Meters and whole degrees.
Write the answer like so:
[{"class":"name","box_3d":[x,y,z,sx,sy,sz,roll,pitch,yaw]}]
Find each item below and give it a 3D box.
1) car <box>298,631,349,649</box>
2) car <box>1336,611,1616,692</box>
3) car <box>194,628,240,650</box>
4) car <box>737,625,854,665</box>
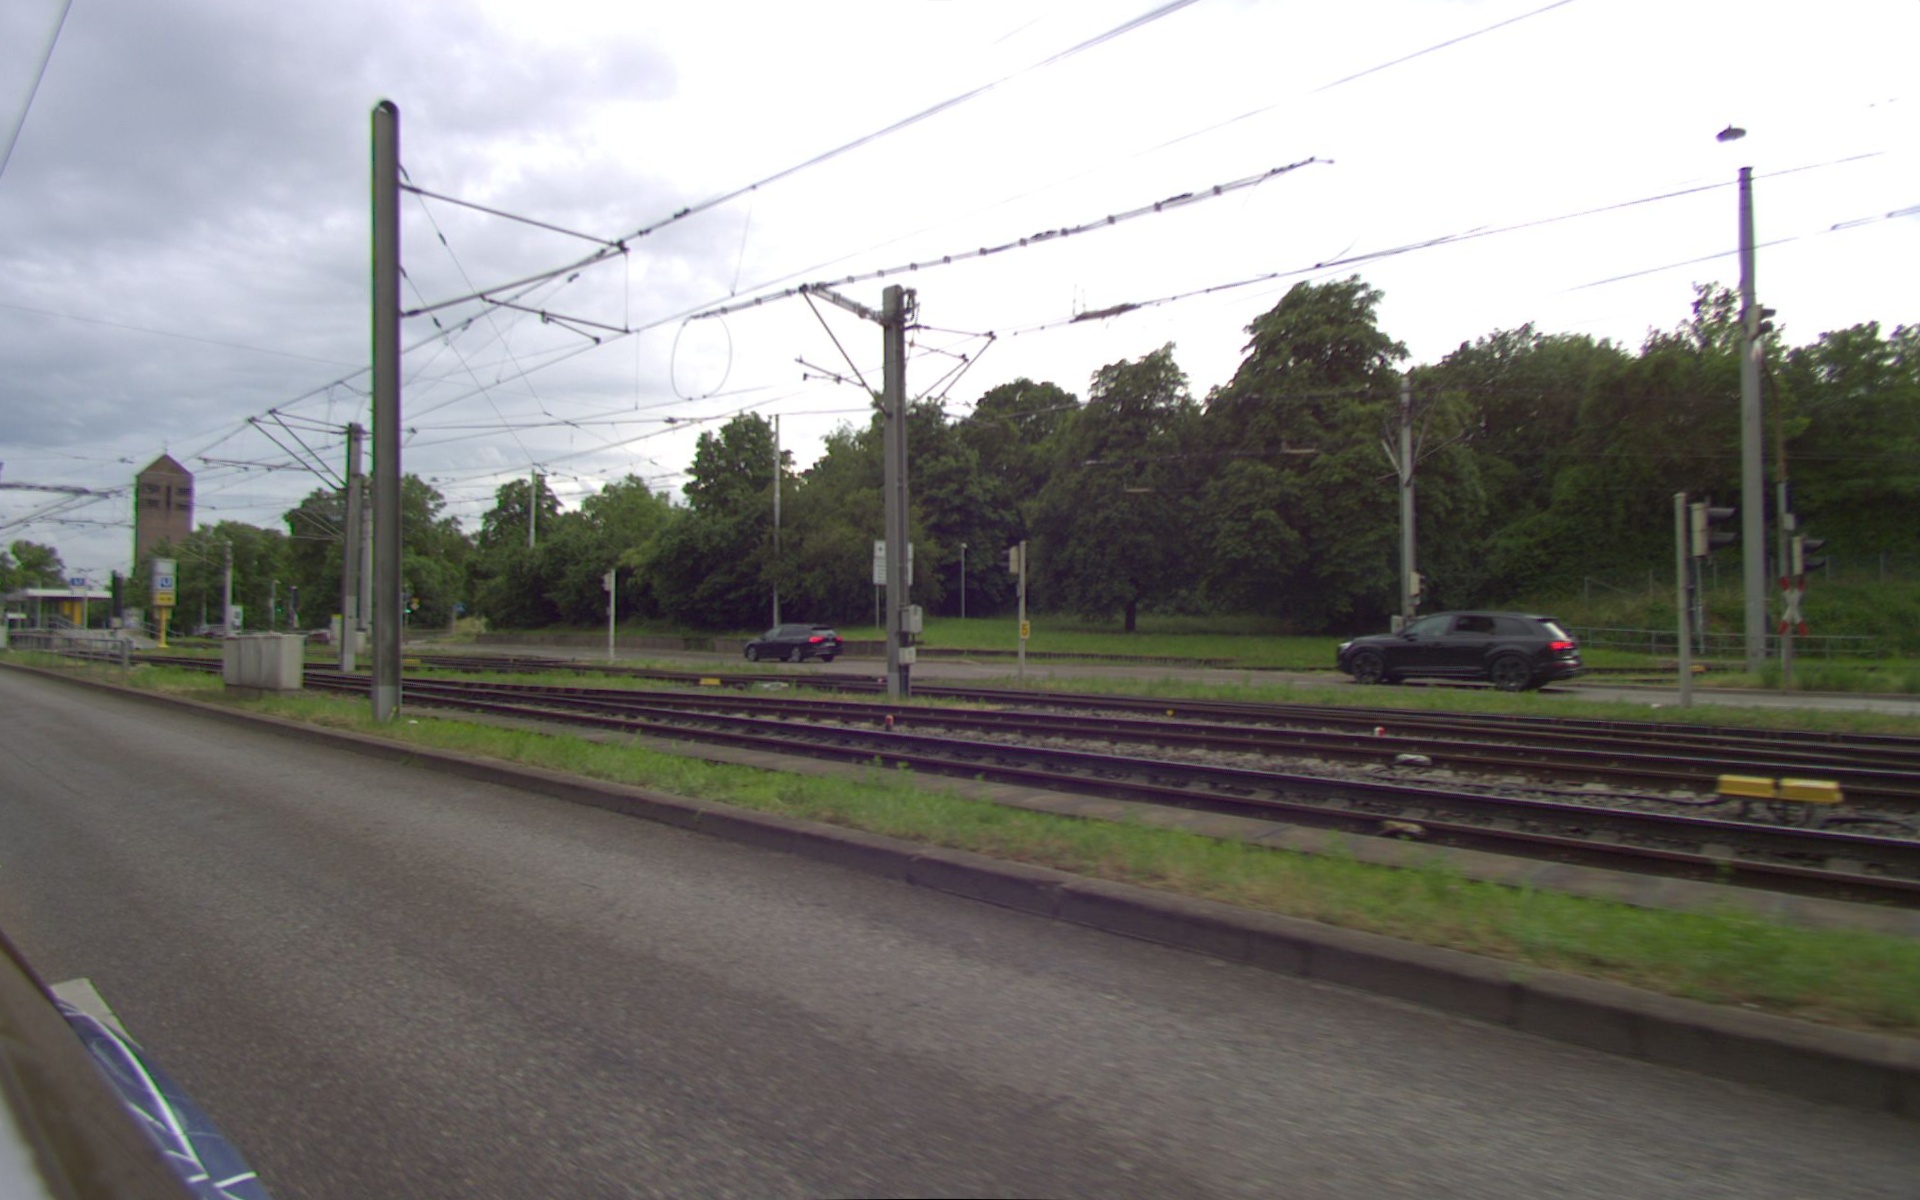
[{"class":"car","box_3d":[-47.057,2.922,74.807,4.471,1.271,1.907,-2,-3,41]},{"class":"car","box_3d":[11.317,1.100,22.473,5.159,1.601,2.066,-2,-3,44]},{"class":"car","box_3d":[-62.417,3.255,84.979,4.859,1.752,2.062,-2,-3,41]},{"class":"car","box_3d":[-6.367,1.698,38.876,4.679,1.458,1.907,-2,-3,41]}]
